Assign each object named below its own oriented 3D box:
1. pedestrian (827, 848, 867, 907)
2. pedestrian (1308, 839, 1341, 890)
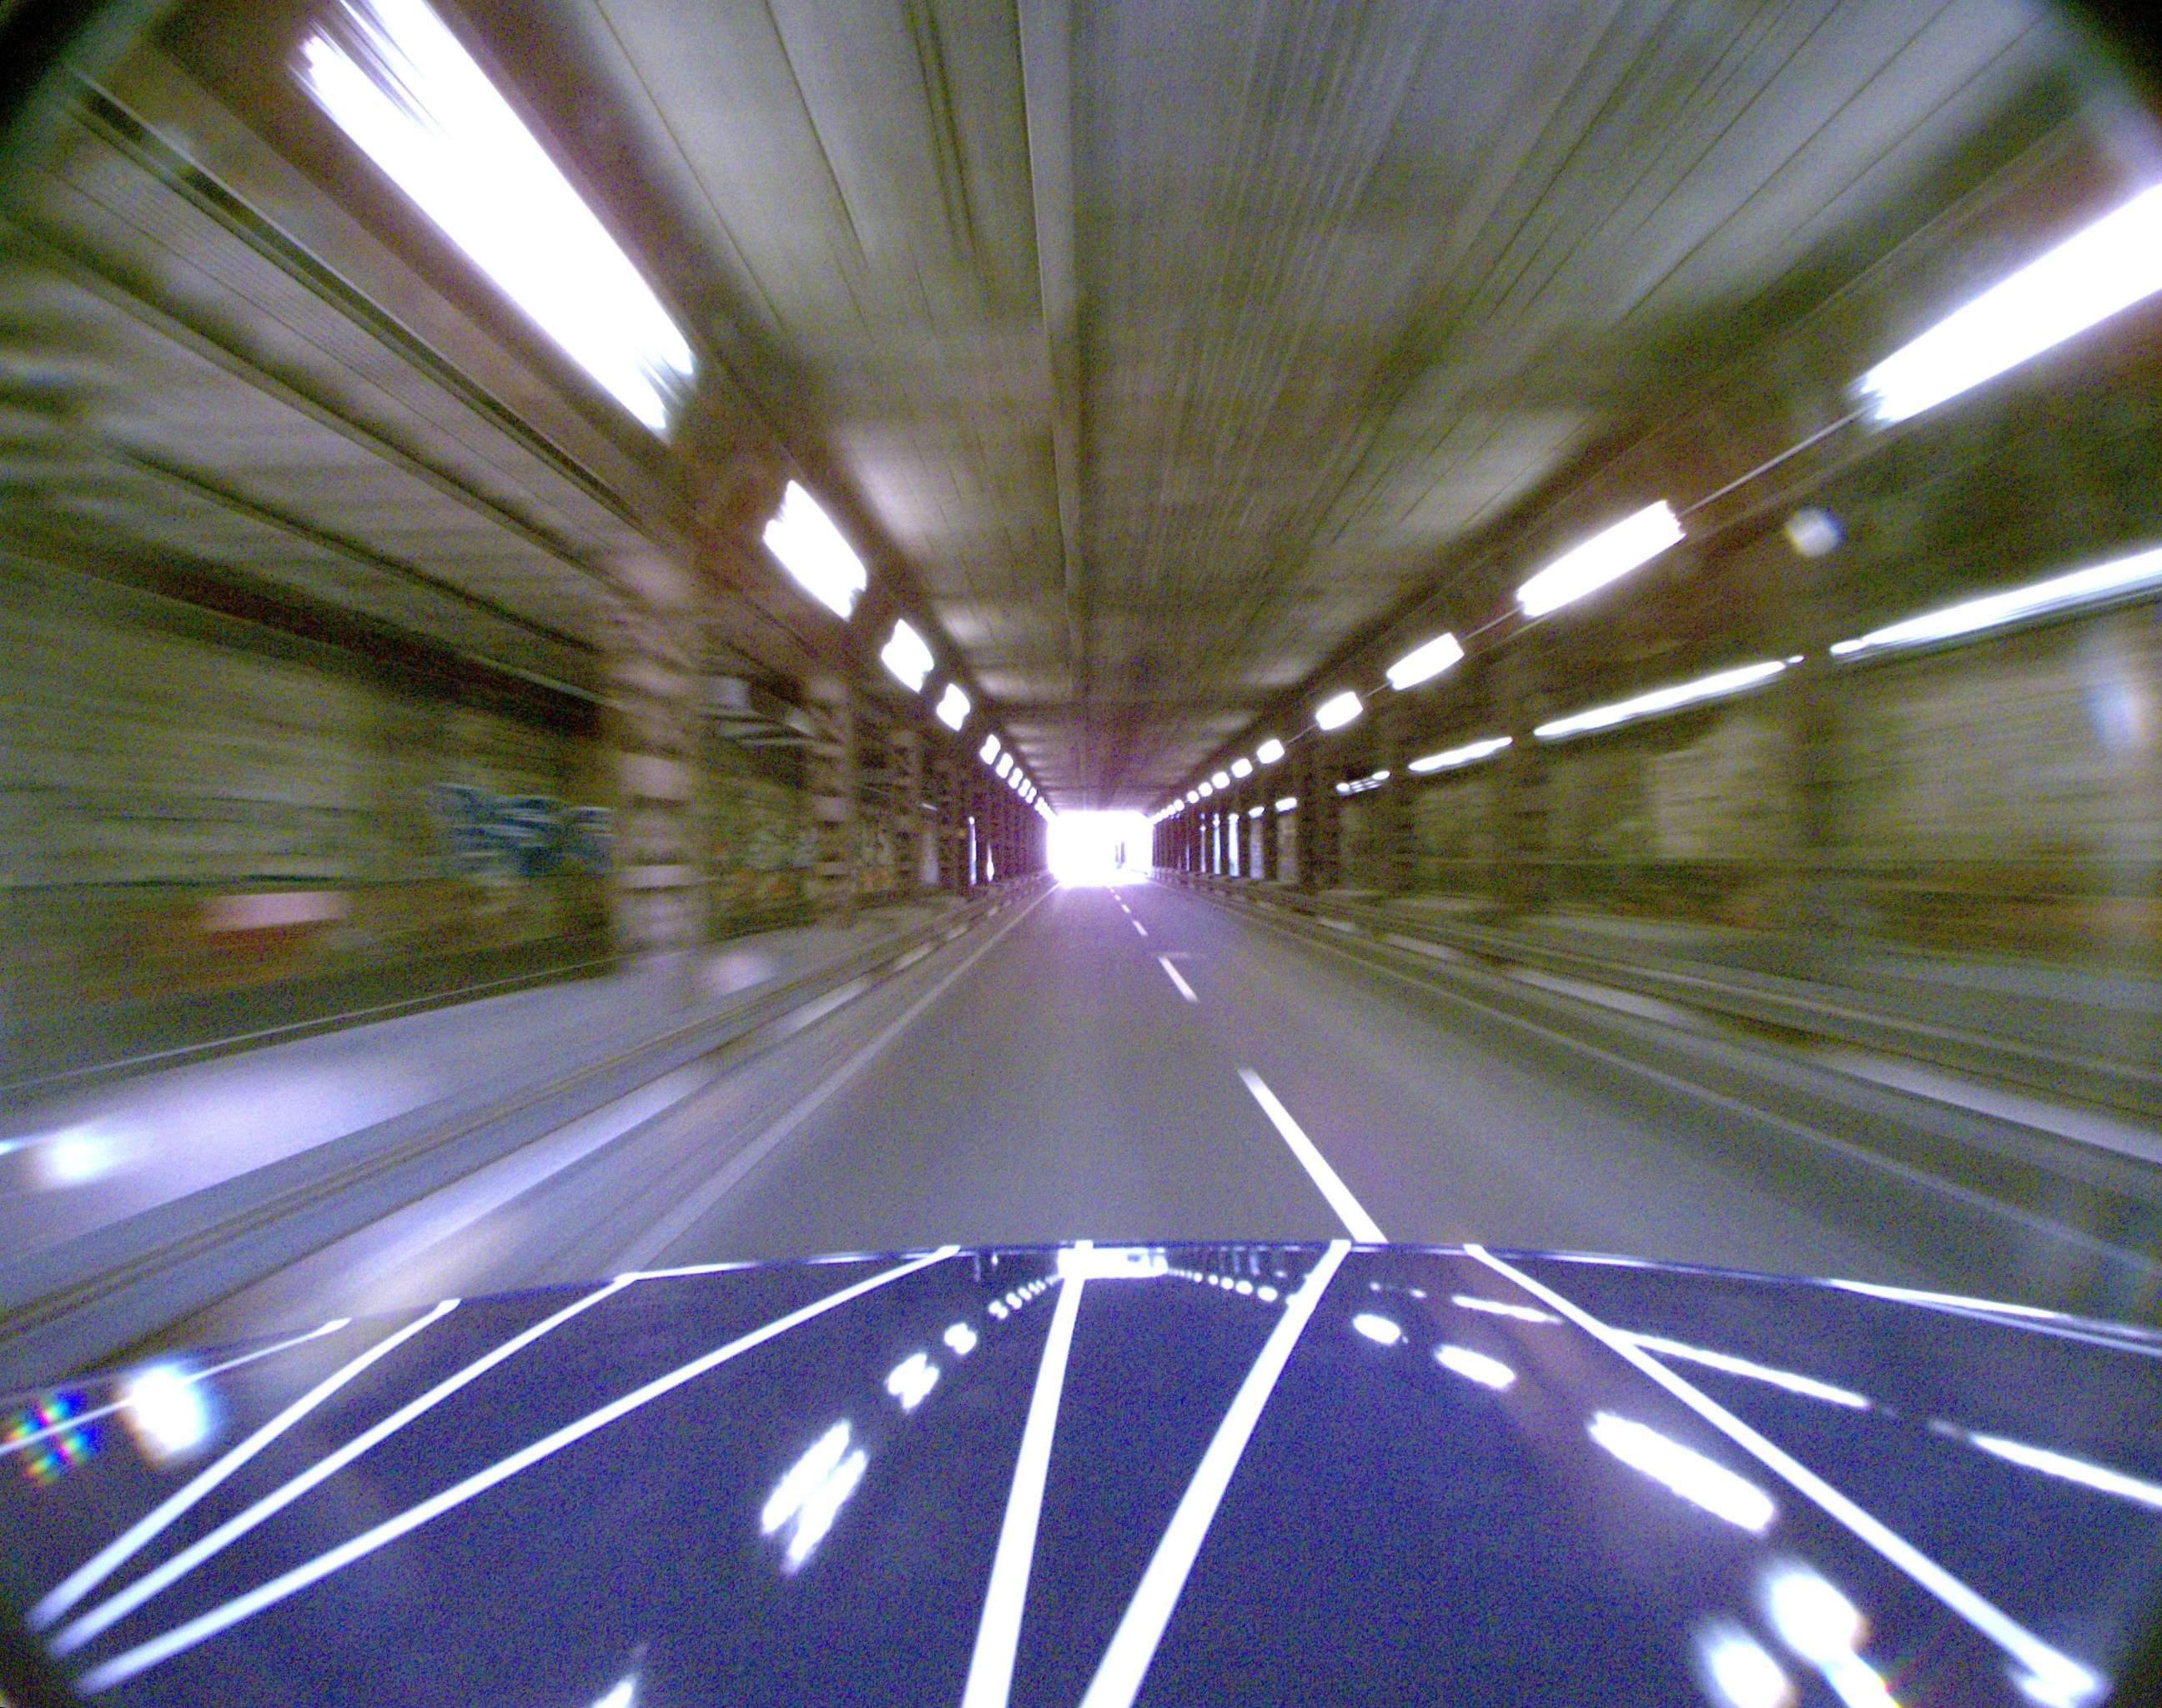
[{"bbox_3d":[-6.809,0.667,22.147,0.802,1.692,1.111,0,0,0],"label":"pedestrian"},{"bbox_3d":[10.204,0.413,31.921,0.961,2.044,1.355,-1,2,1],"label":"pedestrian"}]
